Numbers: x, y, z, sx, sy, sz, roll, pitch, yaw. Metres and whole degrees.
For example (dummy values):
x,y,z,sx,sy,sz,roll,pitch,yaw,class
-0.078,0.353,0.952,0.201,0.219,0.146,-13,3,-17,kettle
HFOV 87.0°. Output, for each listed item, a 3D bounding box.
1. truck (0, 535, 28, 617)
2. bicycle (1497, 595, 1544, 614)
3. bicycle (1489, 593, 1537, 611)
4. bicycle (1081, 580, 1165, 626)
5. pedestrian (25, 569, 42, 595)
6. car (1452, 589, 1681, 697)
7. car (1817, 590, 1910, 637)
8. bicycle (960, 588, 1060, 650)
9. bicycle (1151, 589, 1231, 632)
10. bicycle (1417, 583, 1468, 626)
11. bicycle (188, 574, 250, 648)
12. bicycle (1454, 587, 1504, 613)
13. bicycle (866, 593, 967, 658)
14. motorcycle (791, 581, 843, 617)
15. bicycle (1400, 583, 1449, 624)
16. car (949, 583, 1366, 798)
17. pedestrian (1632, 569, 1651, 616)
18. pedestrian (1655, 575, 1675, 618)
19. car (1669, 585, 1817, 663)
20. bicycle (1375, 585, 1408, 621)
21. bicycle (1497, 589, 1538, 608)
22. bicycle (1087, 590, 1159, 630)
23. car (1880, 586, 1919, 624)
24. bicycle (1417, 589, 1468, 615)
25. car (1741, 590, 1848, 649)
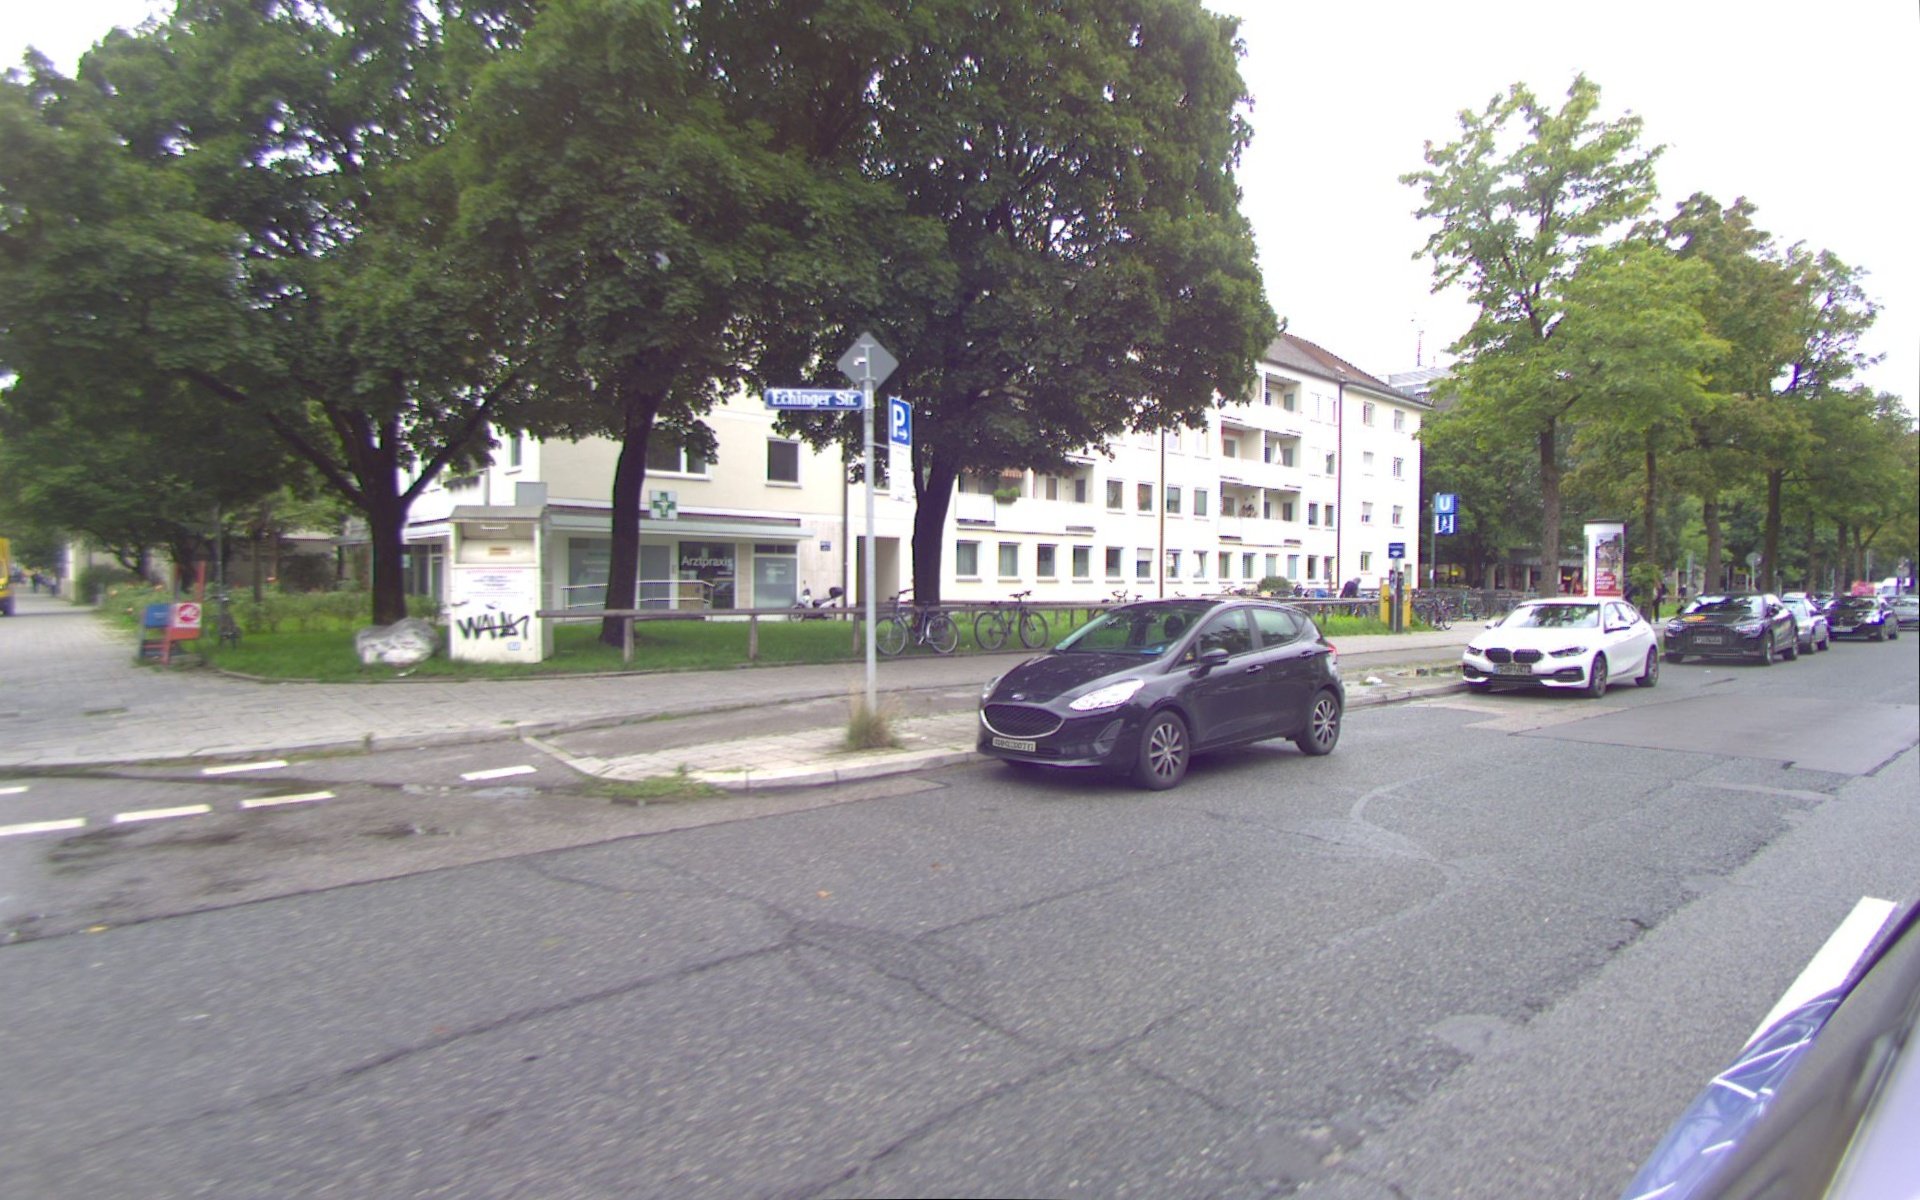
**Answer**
x,y,z,sx,sy,sz,roll,pitch,yaw,class
-35.353,-0.868,36.547,2.240,2.805,6.748,0,1,-45,truck
22.670,0.172,40.949,0.490,0.704,1.595,0,1,-44,bicycle
22.141,0.071,40.513,0.490,0.645,1.596,0,4,-44,bicycle
3.943,0.047,24.542,0.653,1.081,2.027,0,1,-44,bicycle
-73.572,-1.396,80.374,0.892,2.039,1.078,0,1,-40,pedestrian
9.561,0.586,15.838,4.212,1.455,1.824,-1,-1,-41,car
29.134,0.380,32.587,4.227,1.397,1.825,-1,1,-42,car
0.903,0.332,18.356,1.731,1.068,0.471,-1,0,-11,bicycle
6.070,0.259,26.644,0.653,1.081,2.027,0,1,-44,bicycle
14.193,0.113,29.751,2.039,1.203,0.545,-1,1,-40,bicycle
-12.311,0.154,16.803,0.687,1.170,1.471,0,1,-42,bicycle
19.535,0.001,38.103,0.490,0.927,1.596,0,2,-44,bicycle
-0.710,0.410,17.081,1.820,1.028,0.448,-1,1,-40,bicycle
-4.604,-0.047,32.718,1.593,1.134,0.606,-1,1,-40,motorcycle
14.249,0.096,31.001,2.039,1.203,0.545,-1,1,-40,bicycle
1.893,0.624,8.974,3.888,1.496,1.646,0,0,-42,car
26.126,-0.293,38.812,0.555,1.777,0.651,0,0,30,pedestrian
26.729,-0.146,38.381,0.555,1.625,0.515,0,0,30,pedestrian
17.188,0.452,22.165,4.085,1.530,1.824,-1,1,-41,car
13.721,0.083,32.161,1.231,1.130,0.466,0,1,-40,bicycle
22.867,-0.067,41.503,0.490,0.722,1.390,0,3,-44,bicycle
4.568,0.257,28.432,0.653,1.081,2.027,0,1,-44,bicycle
39.608,0.181,41.844,4.225,1.487,1.826,-1,1,-41,car
17.441,0.054,36.615,0.490,0.927,1.595,0,1,-44,bicycle
21.659,0.455,26.230,3.860,1.397,1.615,-1,1,-42,car
